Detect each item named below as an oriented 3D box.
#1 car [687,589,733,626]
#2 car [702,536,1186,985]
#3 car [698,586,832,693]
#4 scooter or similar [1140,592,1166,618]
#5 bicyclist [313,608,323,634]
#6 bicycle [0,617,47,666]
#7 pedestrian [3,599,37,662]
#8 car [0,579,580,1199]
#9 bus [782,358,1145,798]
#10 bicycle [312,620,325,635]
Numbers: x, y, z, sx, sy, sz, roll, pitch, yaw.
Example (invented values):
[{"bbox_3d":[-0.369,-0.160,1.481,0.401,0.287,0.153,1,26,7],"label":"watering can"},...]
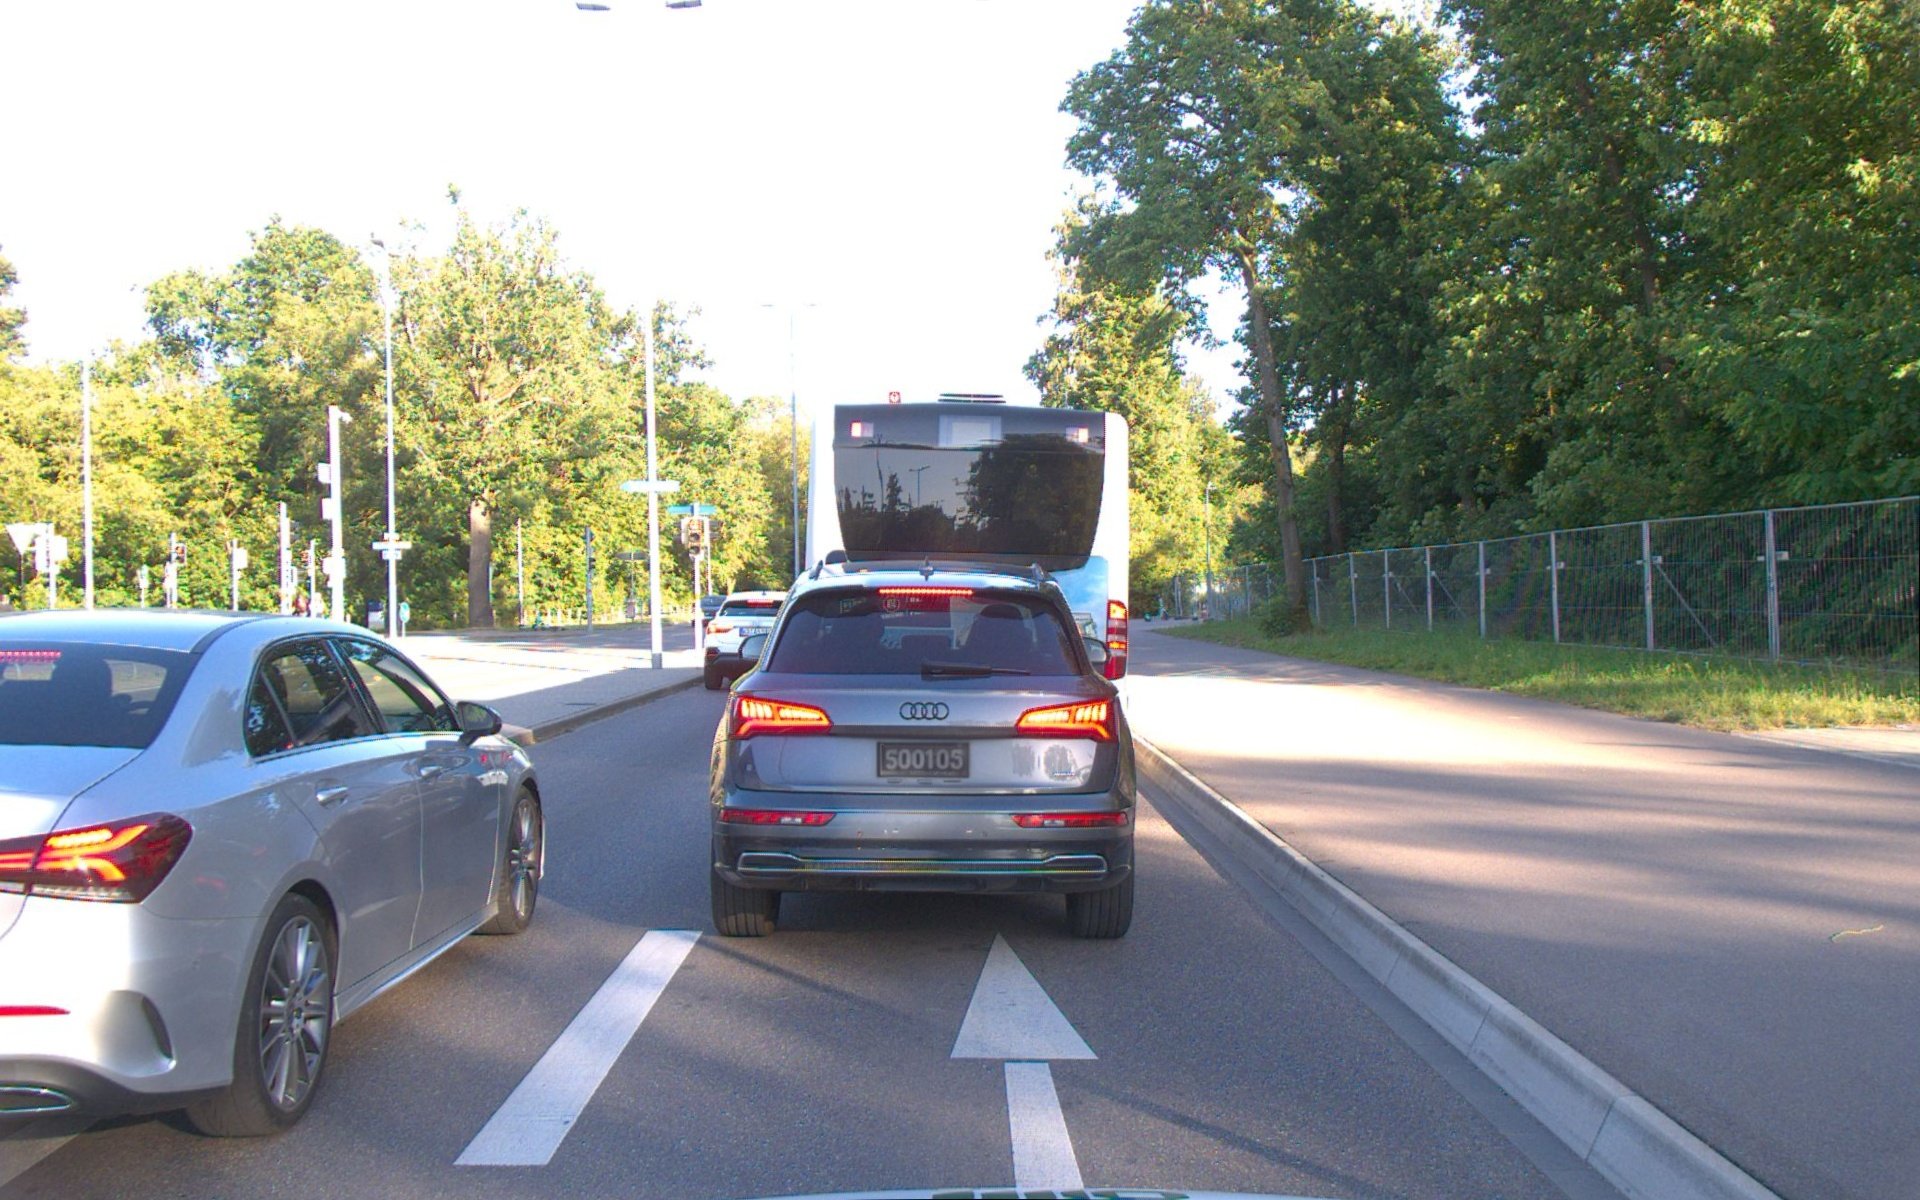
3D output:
[{"bbox_3d":[-11.937,0.340,79.254,1.955,1.691,3.995,-2,0,-6],"label":"car"},{"bbox_3d":[-0.088,0.591,8.339,1.830,1.693,4.000,1,1,-1],"label":"car"},{"bbox_3d":[-3.148,0.588,27.365,1.771,1.599,4.000,1,1,-1],"label":"car"},{"bbox_3d":[9.125,0.246,78.120,1.158,1.195,0.659,1,0,11],"label":"scooter or similar"},{"bbox_3d":[-24.747,0.806,63.743,0.268,0.979,0.240,1,-1,-6],"label":"bicyclist"},{"bbox_3d":[-24.151,1.042,42.324,0.458,1.198,2.003,1,0,-1],"label":"bicycle"},{"bbox_3d":[-24.140,0.784,42.479,0.472,1.589,0.648,1,-1,-1],"label":"pedestrian"},{"bbox_3d":[-2.667,0.682,5.718,1.749,1.469,4.277,1,1,-1],"label":"car"},{"bbox_3d":[0.052,-0.198,15.124,2.623,3.196,5.882,1,1,0],"label":"bus"},{"bbox_3d":[-24.752,1.055,63.798,0.261,0.592,0.838,1,0,-6],"label":"bicycle"}]
